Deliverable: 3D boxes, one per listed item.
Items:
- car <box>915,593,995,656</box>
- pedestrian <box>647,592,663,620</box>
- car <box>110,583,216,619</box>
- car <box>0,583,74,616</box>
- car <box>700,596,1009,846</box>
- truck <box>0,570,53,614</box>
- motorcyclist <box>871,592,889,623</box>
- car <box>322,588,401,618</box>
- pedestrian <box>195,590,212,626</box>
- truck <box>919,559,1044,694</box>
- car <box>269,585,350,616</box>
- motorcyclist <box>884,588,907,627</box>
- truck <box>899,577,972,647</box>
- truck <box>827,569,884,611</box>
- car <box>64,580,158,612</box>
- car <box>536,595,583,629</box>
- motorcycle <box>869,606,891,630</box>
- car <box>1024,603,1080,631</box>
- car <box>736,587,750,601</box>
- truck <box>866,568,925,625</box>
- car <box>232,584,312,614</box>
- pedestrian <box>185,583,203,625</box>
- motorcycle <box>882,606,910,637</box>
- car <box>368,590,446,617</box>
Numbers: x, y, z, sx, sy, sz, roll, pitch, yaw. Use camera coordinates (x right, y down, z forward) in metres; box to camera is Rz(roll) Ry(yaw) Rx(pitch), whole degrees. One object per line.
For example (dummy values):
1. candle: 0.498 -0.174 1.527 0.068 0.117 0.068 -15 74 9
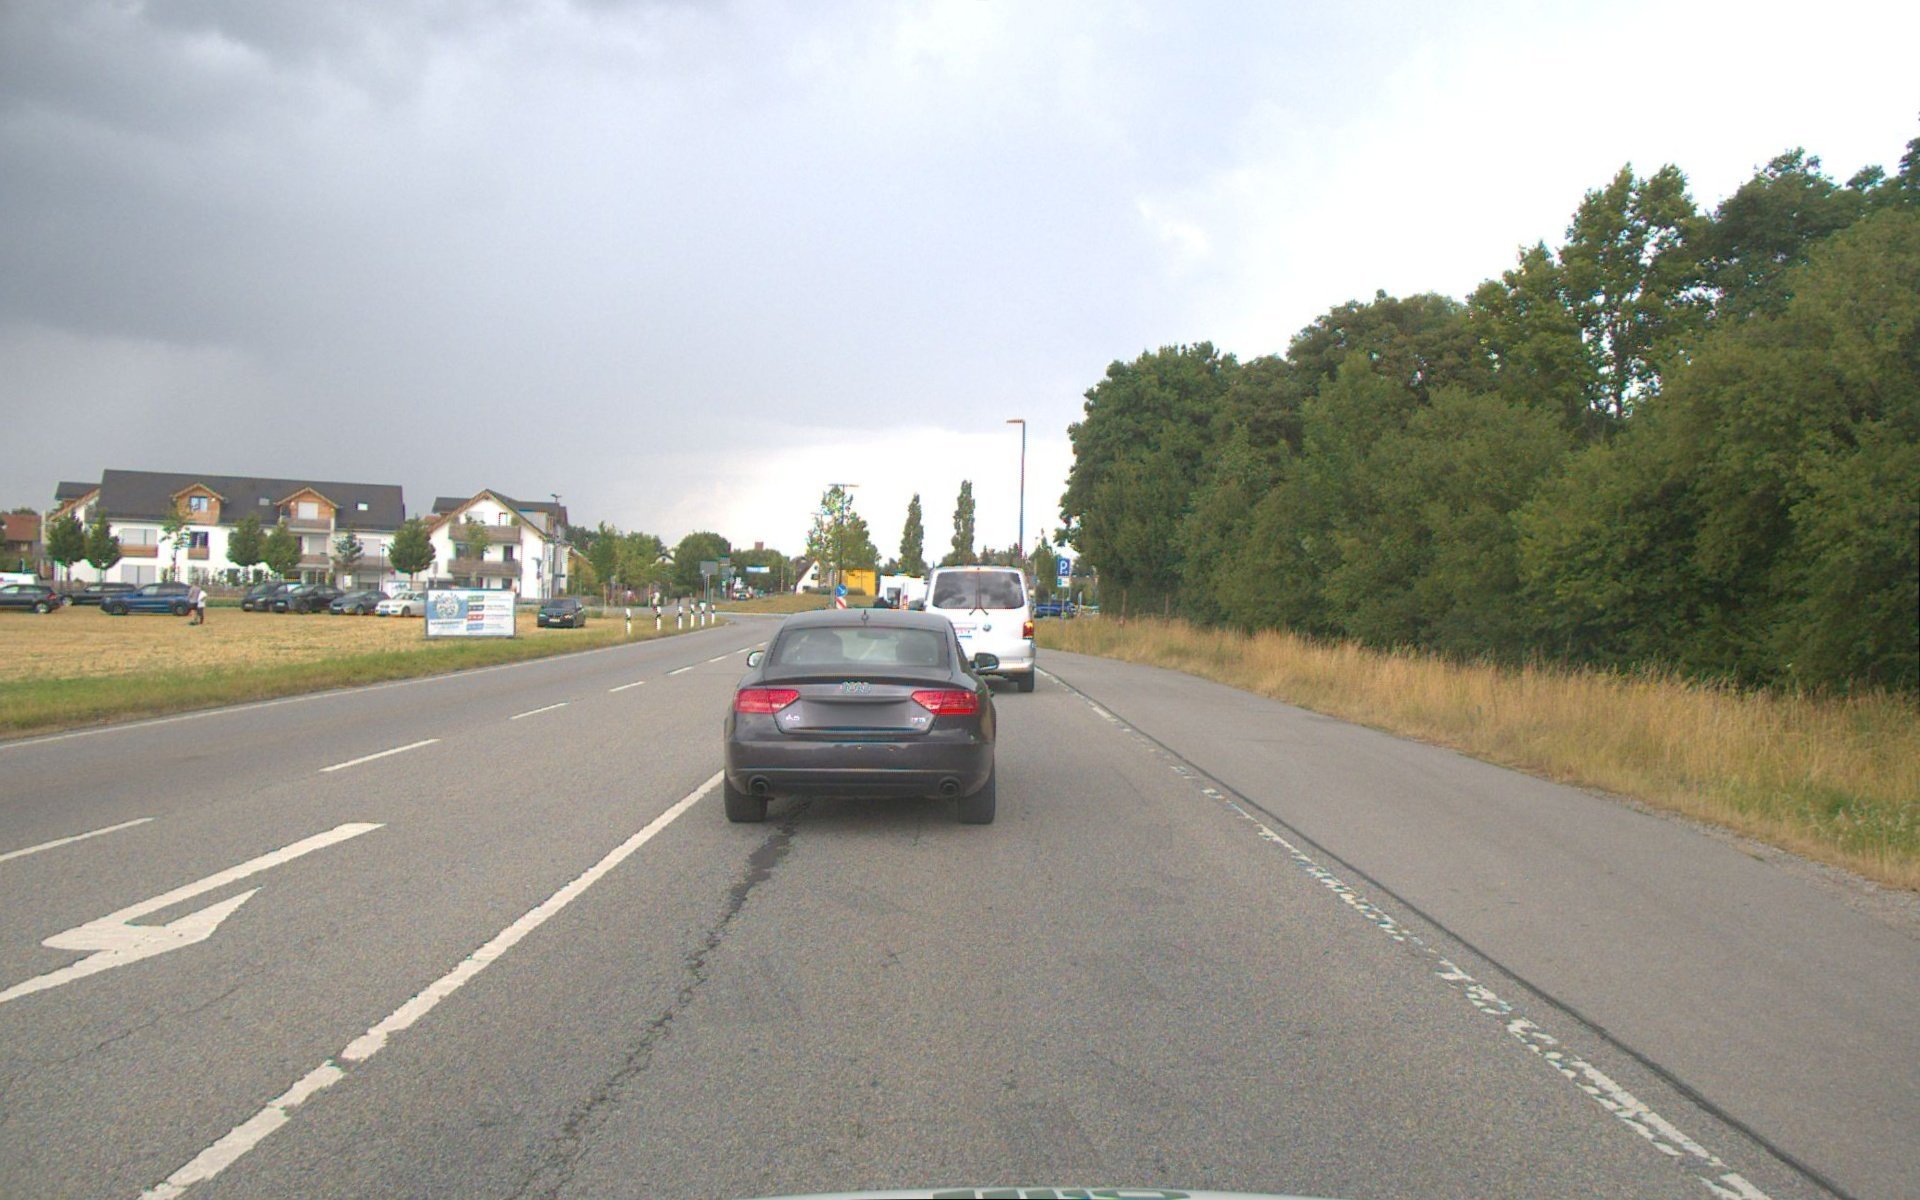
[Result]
1. car: -0.153 0.613 43.153 1.953 1.511 3.999 1 0 -1
2. pedestrian: -17.569 0.363 95.291 0.686 1.613 0.658 1 0 17
3. car: -40.651 0.044 84.506 4.647 1.727 1.988 1 0 -21
4. car: -46.496 -0.033 82.187 4.095 1.545 1.988 1 0 -21
5. car: -0.653 0.723 12.004 1.837 1.479 4.176 1 0 -1
6. truck: -49.947 -0.451 85.003 5.489 2.235 2.589 1 0 -23
7. motorcyclist: -3.647 0.322 75.438 0.770 1.380 0.853 1 0 -2
8. car: -33.186 0.163 91.857 1.952 1.562 4.213 1 0 18
9. pedestrian: -33.495 0.334 73.207 0.580 1.583 0.622 1 0 -19
10. truck: 0.334 0.402 27.639 1.865 2.033 4.628 1 0 0
11. car: -36.282 0.019 92.296 1.952 1.657 4.213 1 0 18
12. motorcyclist: -2.400 0.272 61.708 0.756 1.407 0.820 1 0 0
13. truck: -0.723 0.366 52.210 2.149 2.049 5.084 1 0 0
14. truck: -9.775 -0.944 153.382 3.515 3.640 9.922 2 0 -13
15. car: -49.208 -0.216 95.979 4.558 1.727 1.988 1 0 -21
16. car: -19.070 0.555 78.828 1.958 1.467 3.990 1 1 -11
17. motorcycle: -3.620 0.828 75.411 0.925 1.037 2.283 1 0 -2
18. car: 7.231 1.320 129.755 3.904 2.049 2.000 2 0 20
19. car: -33.127 -0.896 252.335 1.956 2.049 3.994 2 0 -7
20. truck: -3.434 -0.163 86.459 2.576 2.785 5.858 2 0 -7
21. car: -39.358 -0.069 94.666 1.952 1.657 4.213 1 0 18
22. pedestrian: -33.390 0.189 72.101 0.538 1.817 0.676 1 0 -12
23. motorcycle: -2.395 0.805 61.782 0.901 1.113 2.189 1 0 1
24. car: -30.553 0.196 91.486 1.952 1.471 4.213 1 0 18
